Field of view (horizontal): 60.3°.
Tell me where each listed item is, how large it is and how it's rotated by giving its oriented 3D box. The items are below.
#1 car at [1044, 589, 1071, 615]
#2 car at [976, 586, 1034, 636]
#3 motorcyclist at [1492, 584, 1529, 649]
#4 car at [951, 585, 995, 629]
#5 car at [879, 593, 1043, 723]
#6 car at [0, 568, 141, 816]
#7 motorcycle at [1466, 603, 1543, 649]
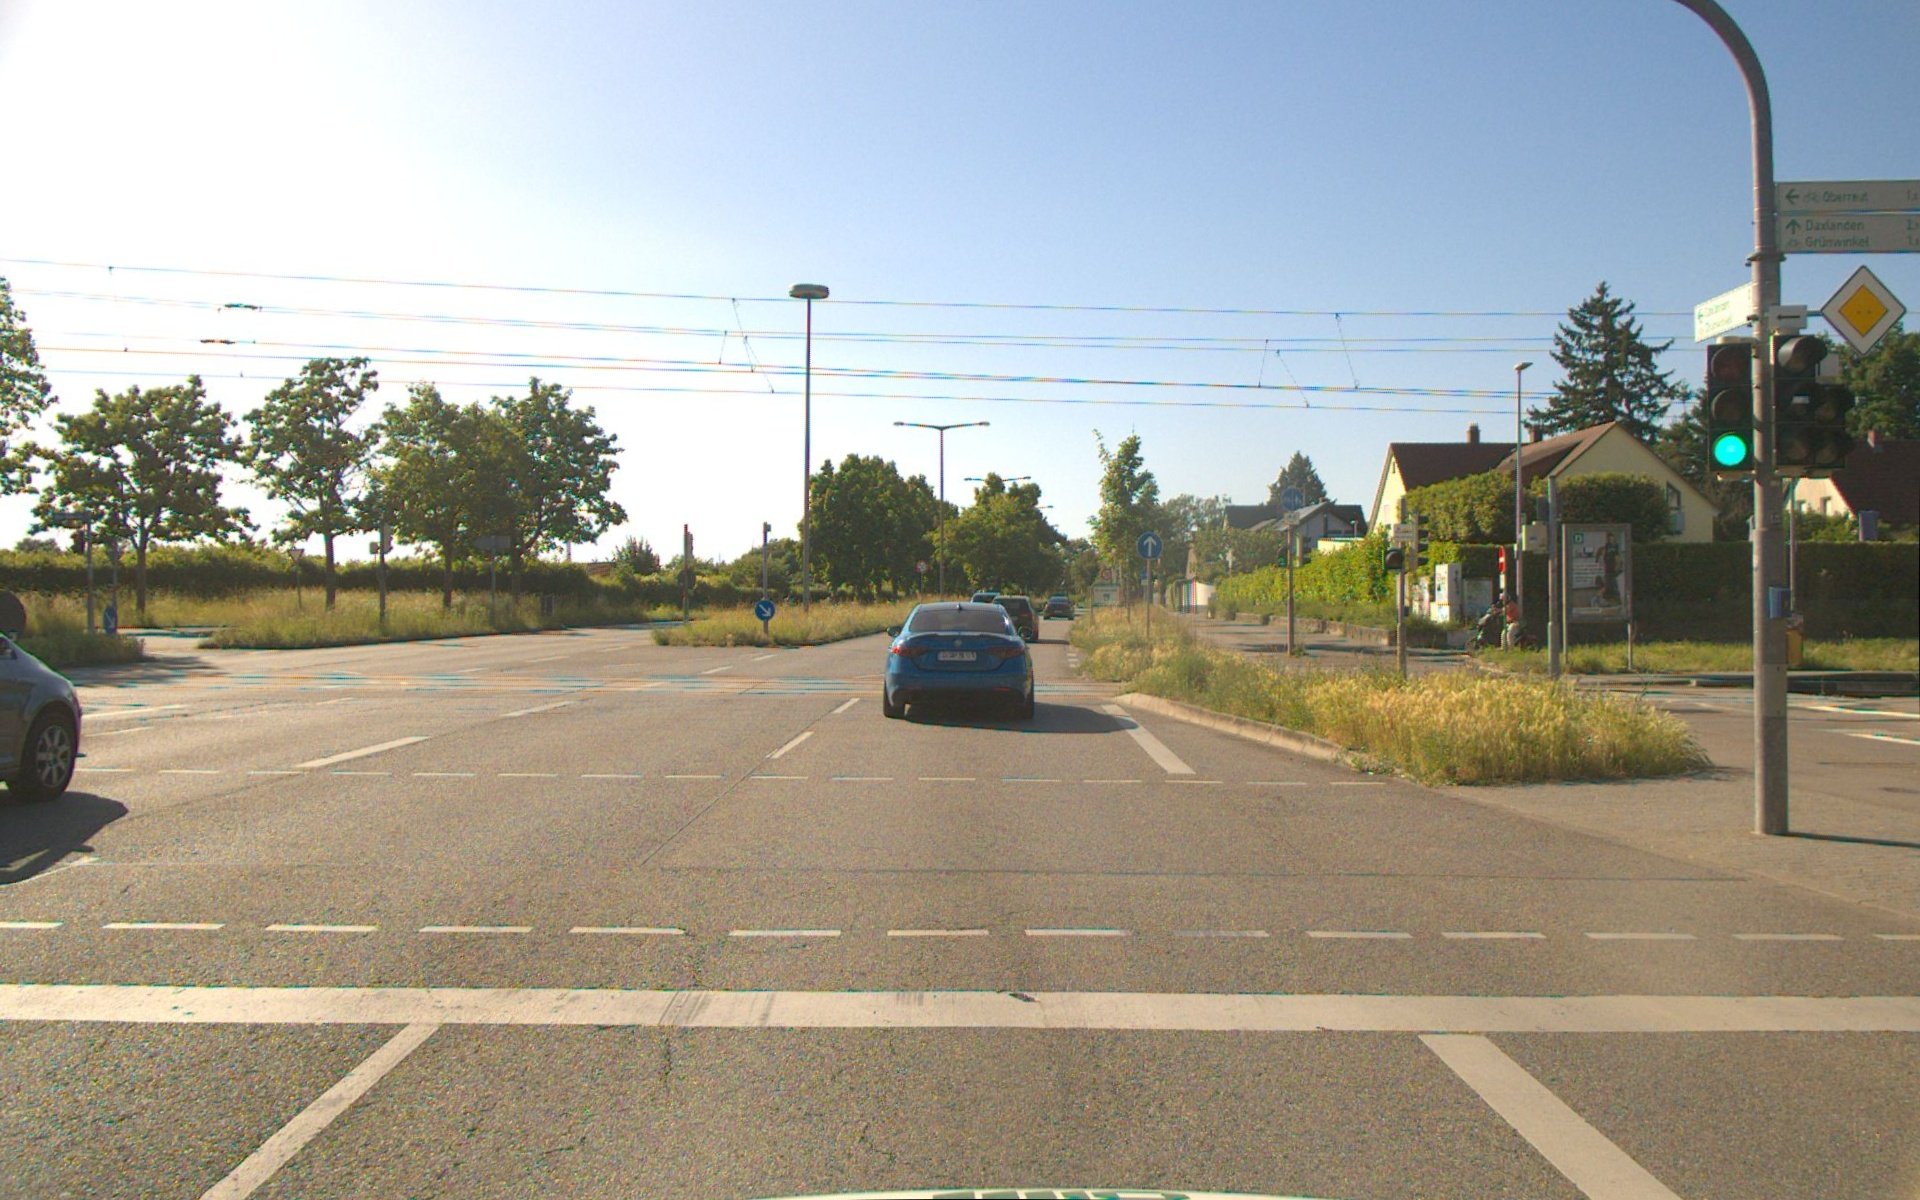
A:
[{"bbox_3d":[6.215,0.138,105.220,1.625,1.607,3.811,1,0,5],"label":"car"},{"bbox_3d":[1.514,0.341,55.324,1.875,1.607,4.183,0,0,2],"label":"car"},{"bbox_3d":[13.511,0.399,40.597,0.678,1.585,0.700,-1,0,5],"label":"motorcyclist"},{"bbox_3d":[0.637,0.309,78.609,1.755,2.049,4.003,0,0,5],"label":"car"},{"bbox_3d":[-0.087,0.672,21.596,1.802,1.500,4.180,0,1,-5],"label":"car"},{"bbox_3d":[-7.079,0.593,10.267,1.804,1.598,4.386,0,0,0],"label":"car"},{"bbox_3d":[13.373,0.636,40.619,1.719,1.090,0.452,-1,0,5],"label":"motorcycle"}]
